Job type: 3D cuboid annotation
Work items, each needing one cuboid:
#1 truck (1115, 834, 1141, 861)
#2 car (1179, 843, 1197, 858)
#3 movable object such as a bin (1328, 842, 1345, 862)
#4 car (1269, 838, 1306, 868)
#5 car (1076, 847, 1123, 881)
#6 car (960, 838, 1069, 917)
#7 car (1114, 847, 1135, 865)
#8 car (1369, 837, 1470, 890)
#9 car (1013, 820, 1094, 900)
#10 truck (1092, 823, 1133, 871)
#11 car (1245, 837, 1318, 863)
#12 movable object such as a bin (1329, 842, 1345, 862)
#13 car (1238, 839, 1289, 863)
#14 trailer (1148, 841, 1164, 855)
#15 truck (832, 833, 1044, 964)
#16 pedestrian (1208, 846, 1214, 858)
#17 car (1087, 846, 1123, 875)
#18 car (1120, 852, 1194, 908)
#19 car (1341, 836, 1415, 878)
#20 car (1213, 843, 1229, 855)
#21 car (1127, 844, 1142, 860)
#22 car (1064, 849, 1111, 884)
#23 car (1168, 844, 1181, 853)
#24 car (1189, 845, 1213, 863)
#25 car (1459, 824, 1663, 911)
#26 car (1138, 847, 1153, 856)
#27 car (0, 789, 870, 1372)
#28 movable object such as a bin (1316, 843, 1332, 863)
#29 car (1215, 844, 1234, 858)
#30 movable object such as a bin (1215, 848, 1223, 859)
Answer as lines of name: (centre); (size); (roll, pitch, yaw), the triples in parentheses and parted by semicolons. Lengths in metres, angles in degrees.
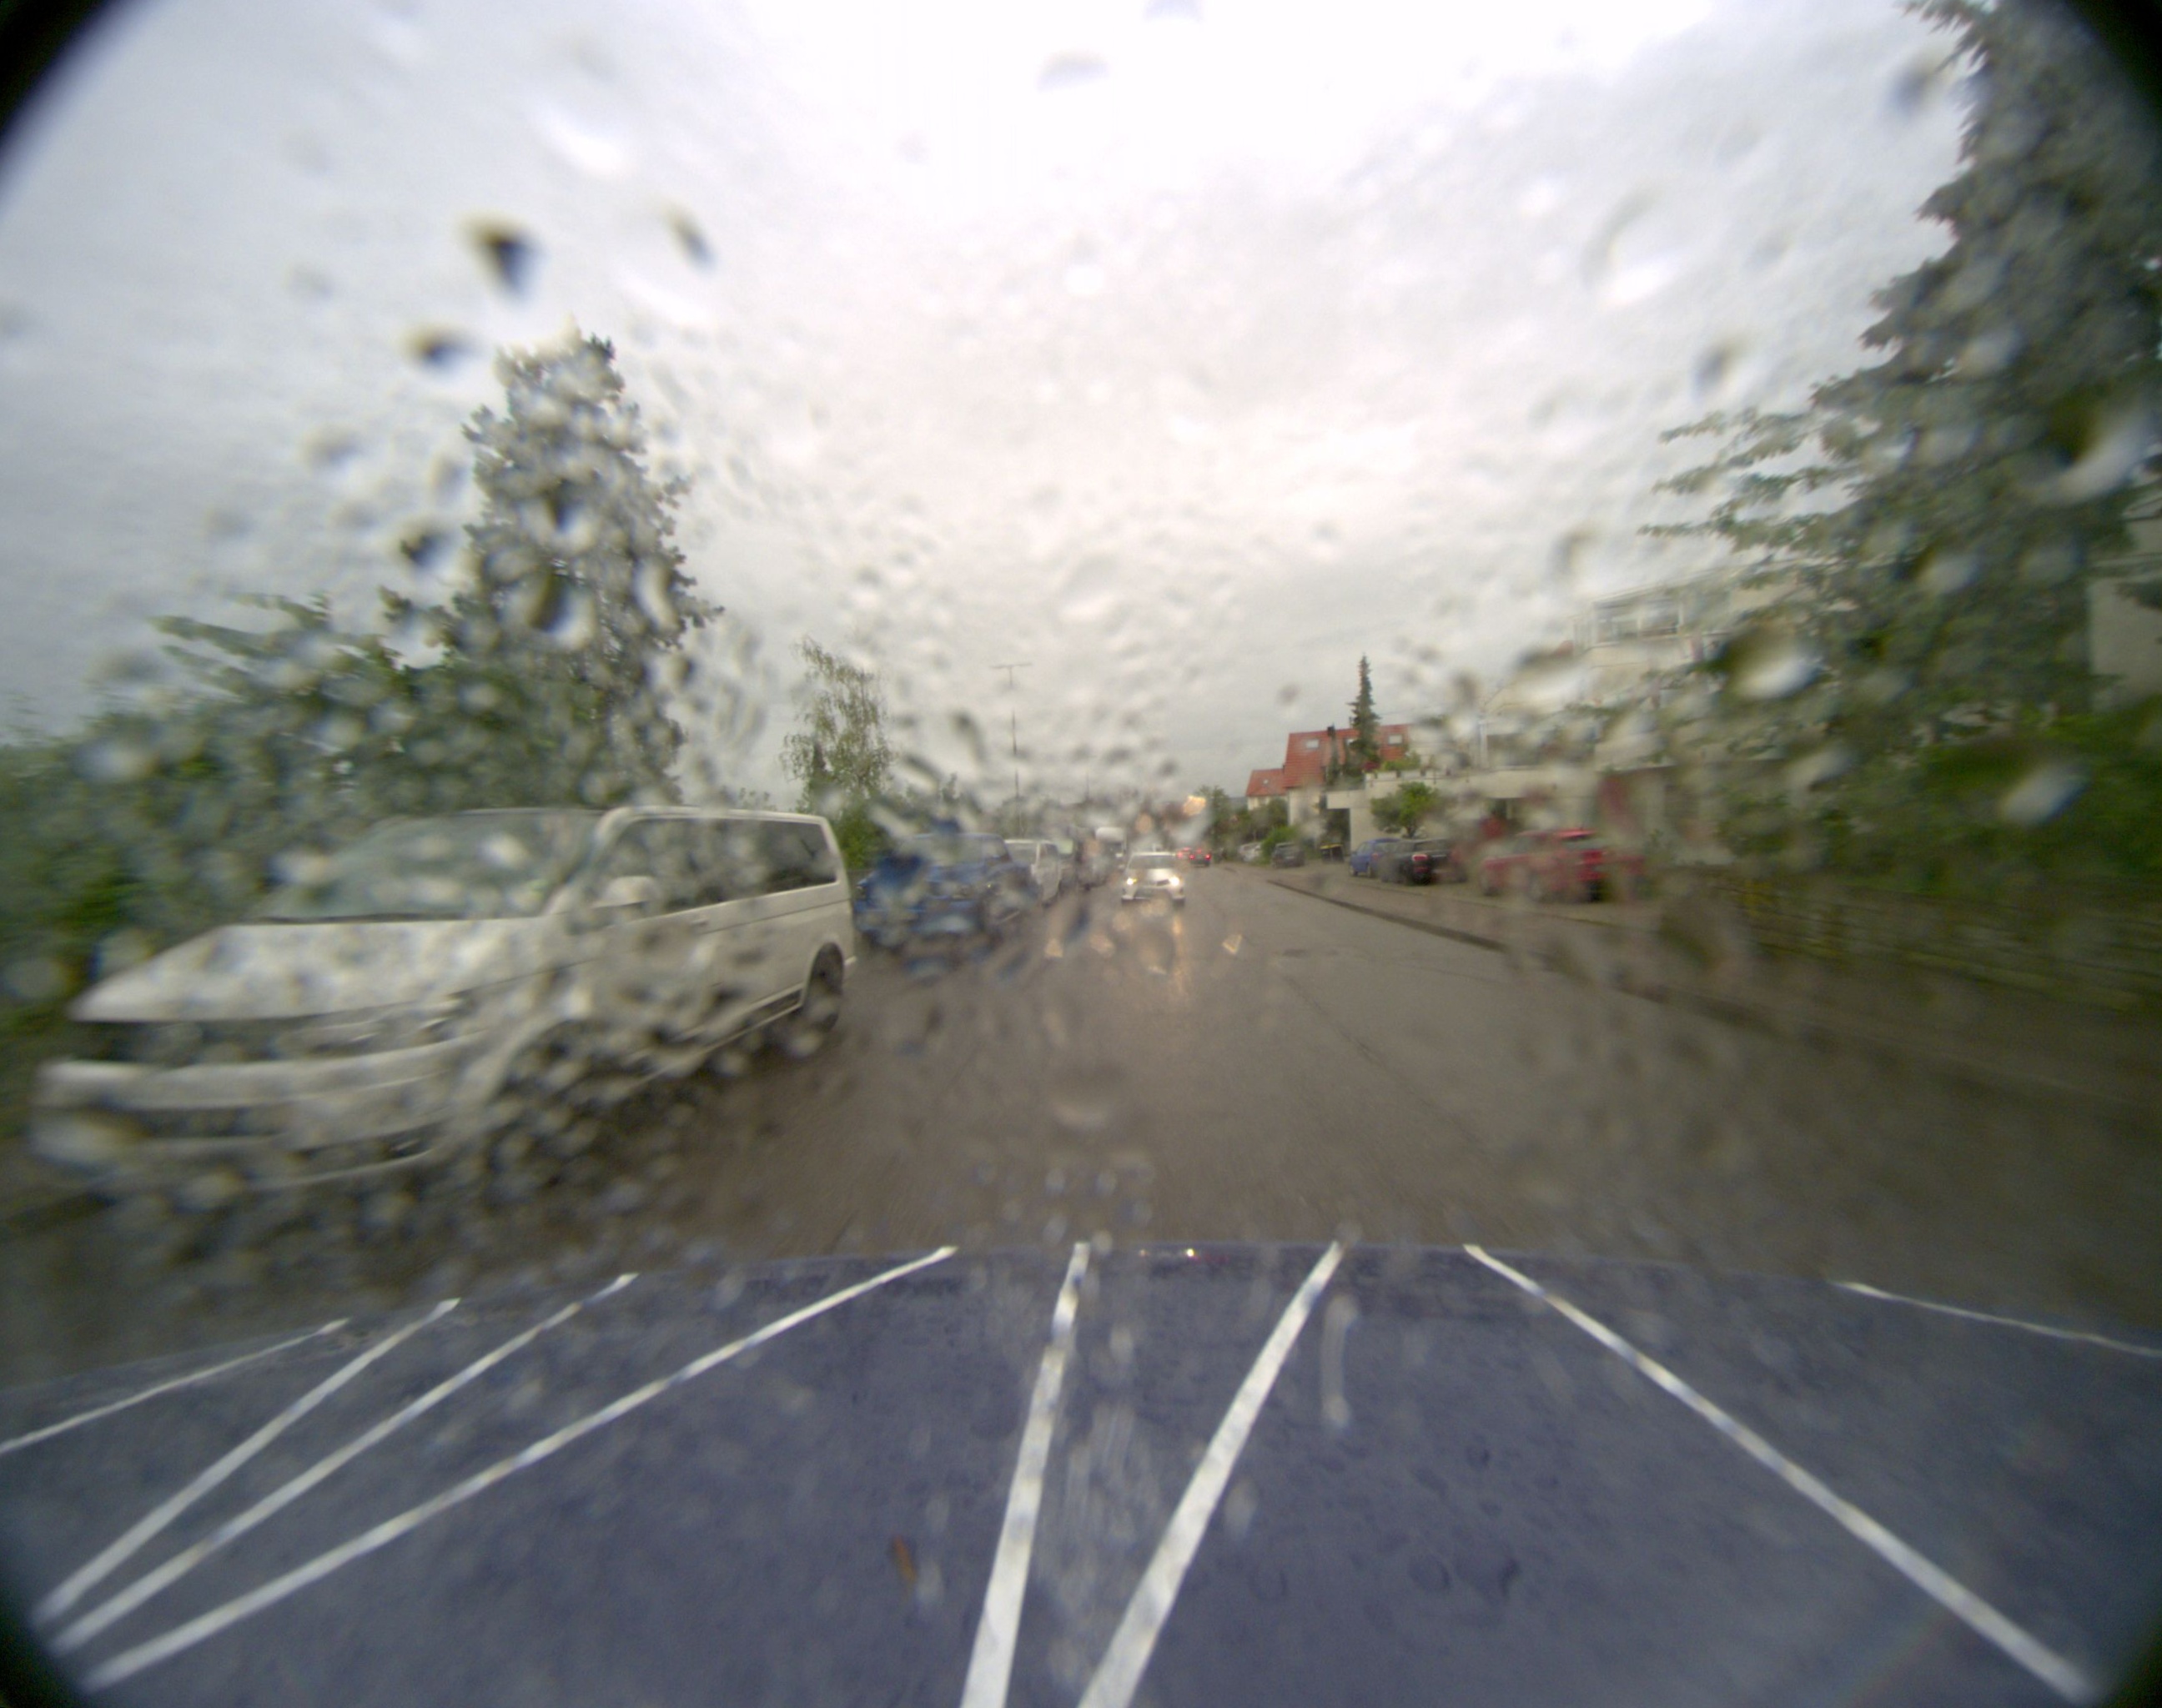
truck: (4.922, -0.727, 79.238); (2.243, 2.616, 6.541); (-1, 1, 7)
car: (11.867, -0.403, 84.444); (1.802, 1.558, 4.386); (-1, 1, 6)
movable object such as a bin: (14.874, -0.096, 44.236); (0.725, 1.064, 0.767); (-6, 1, 24)
car: (13.118, -0.097, 48.529); (1.692, 1.579, 4.199); (-8, -1, 9)
car: (1.045, 0.495, 40.472); (1.940, 1.662, 4.696); (-1, 1, 8)
car: (-1.596, 0.524, 20.399); (1.830, 1.831, 5.272); (-1, 1, 7)
car: (4.154, 0.135, 71.787); (1.763, 1.595, 4.668); (-1, 1, 6)
car: (10.657, 0.259, 24.256); (1.636, 1.388, 4.240); (-6, 0, 7)
car: (-0.824, 0.155, 26.995); (2.035, 2.491, 5.958); (-1, 1, 6)
truck: (2.462, -0.546, 57.122); (2.441, 3.316, 7.967); (-1, 1, 6)
car: (15.379, -0.298, 58.235); (5.089, 1.933, 2.144); (-1, 1, 23)
movable object such as a bin: (15.161, -0.114, 45.008); (0.725, 1.064, 0.767); (-6, 1, 24)
car: (15.920, -0.235, 66.301); (4.060, 1.682, 1.896); (-5, 0, 20)
trailer: (13.467, -1.078, 135.932); (1.951, 2.442, 5.440); (-1, 1, 16)
truck: (-2.303, 0.632, 14.615); (2.118, 1.841, 6.620); (-3, 0, 6)
pedestrian: (18.045, -0.339, 105.419); (0.718, 1.626, 0.707); (-1, 1, 8)
car: (1.604, 0.377, 49.115); (1.850, 1.674, 5.640); (-1, 1, 6)
car: (2.176, 0.672, 22.095); (1.862, 1.369, 4.182); (-3, 0, 5)
car: (11.615, 0.112, 29.973); (1.611, 1.426, 3.960); (-5, 0, 5)
car: (18.976, -0.712, 102.843); (1.769, 1.368, 4.251); (-5, 0, 13)
car: (6.897, -0.268, 98.048); (1.853, 1.871, 4.911); (-1, 1, 4)
car: (0.329, 0.520, 33.978); (1.592, 1.421, 3.799); (-1, 1, 8)
car: (16.748, -0.921, 135.561); (1.818, 1.498, 4.728); (-1, 1, 12)
car: (10.258, -0.031, 65.345); (1.778, 1.429, 4.363); (1, 1, 5)
car: (10.005, 0.225, 16.331); (1.778, 1.429, 4.590); (-6, 0, 7)
car: (10.610, -0.391, 125.046); (1.796, 1.451, 4.792); (-1, 1, 12)
car: (-3.321, 0.760, 5.088); (1.864, 1.910, 5.081); (-3, 0, 6)
movable object such as a bin: (14.494, -0.048, 45.348); (0.725, 1.064, 0.850); (-6, 1, 24)
car: (16.730, -0.378, 88.541); (1.807, 1.588, 4.419); (-1, 1, 6)
movable object such as a bin: (13.122, -0.054, 72.285); (0.604, 1.057, 0.698); (-3, 1, 2)
